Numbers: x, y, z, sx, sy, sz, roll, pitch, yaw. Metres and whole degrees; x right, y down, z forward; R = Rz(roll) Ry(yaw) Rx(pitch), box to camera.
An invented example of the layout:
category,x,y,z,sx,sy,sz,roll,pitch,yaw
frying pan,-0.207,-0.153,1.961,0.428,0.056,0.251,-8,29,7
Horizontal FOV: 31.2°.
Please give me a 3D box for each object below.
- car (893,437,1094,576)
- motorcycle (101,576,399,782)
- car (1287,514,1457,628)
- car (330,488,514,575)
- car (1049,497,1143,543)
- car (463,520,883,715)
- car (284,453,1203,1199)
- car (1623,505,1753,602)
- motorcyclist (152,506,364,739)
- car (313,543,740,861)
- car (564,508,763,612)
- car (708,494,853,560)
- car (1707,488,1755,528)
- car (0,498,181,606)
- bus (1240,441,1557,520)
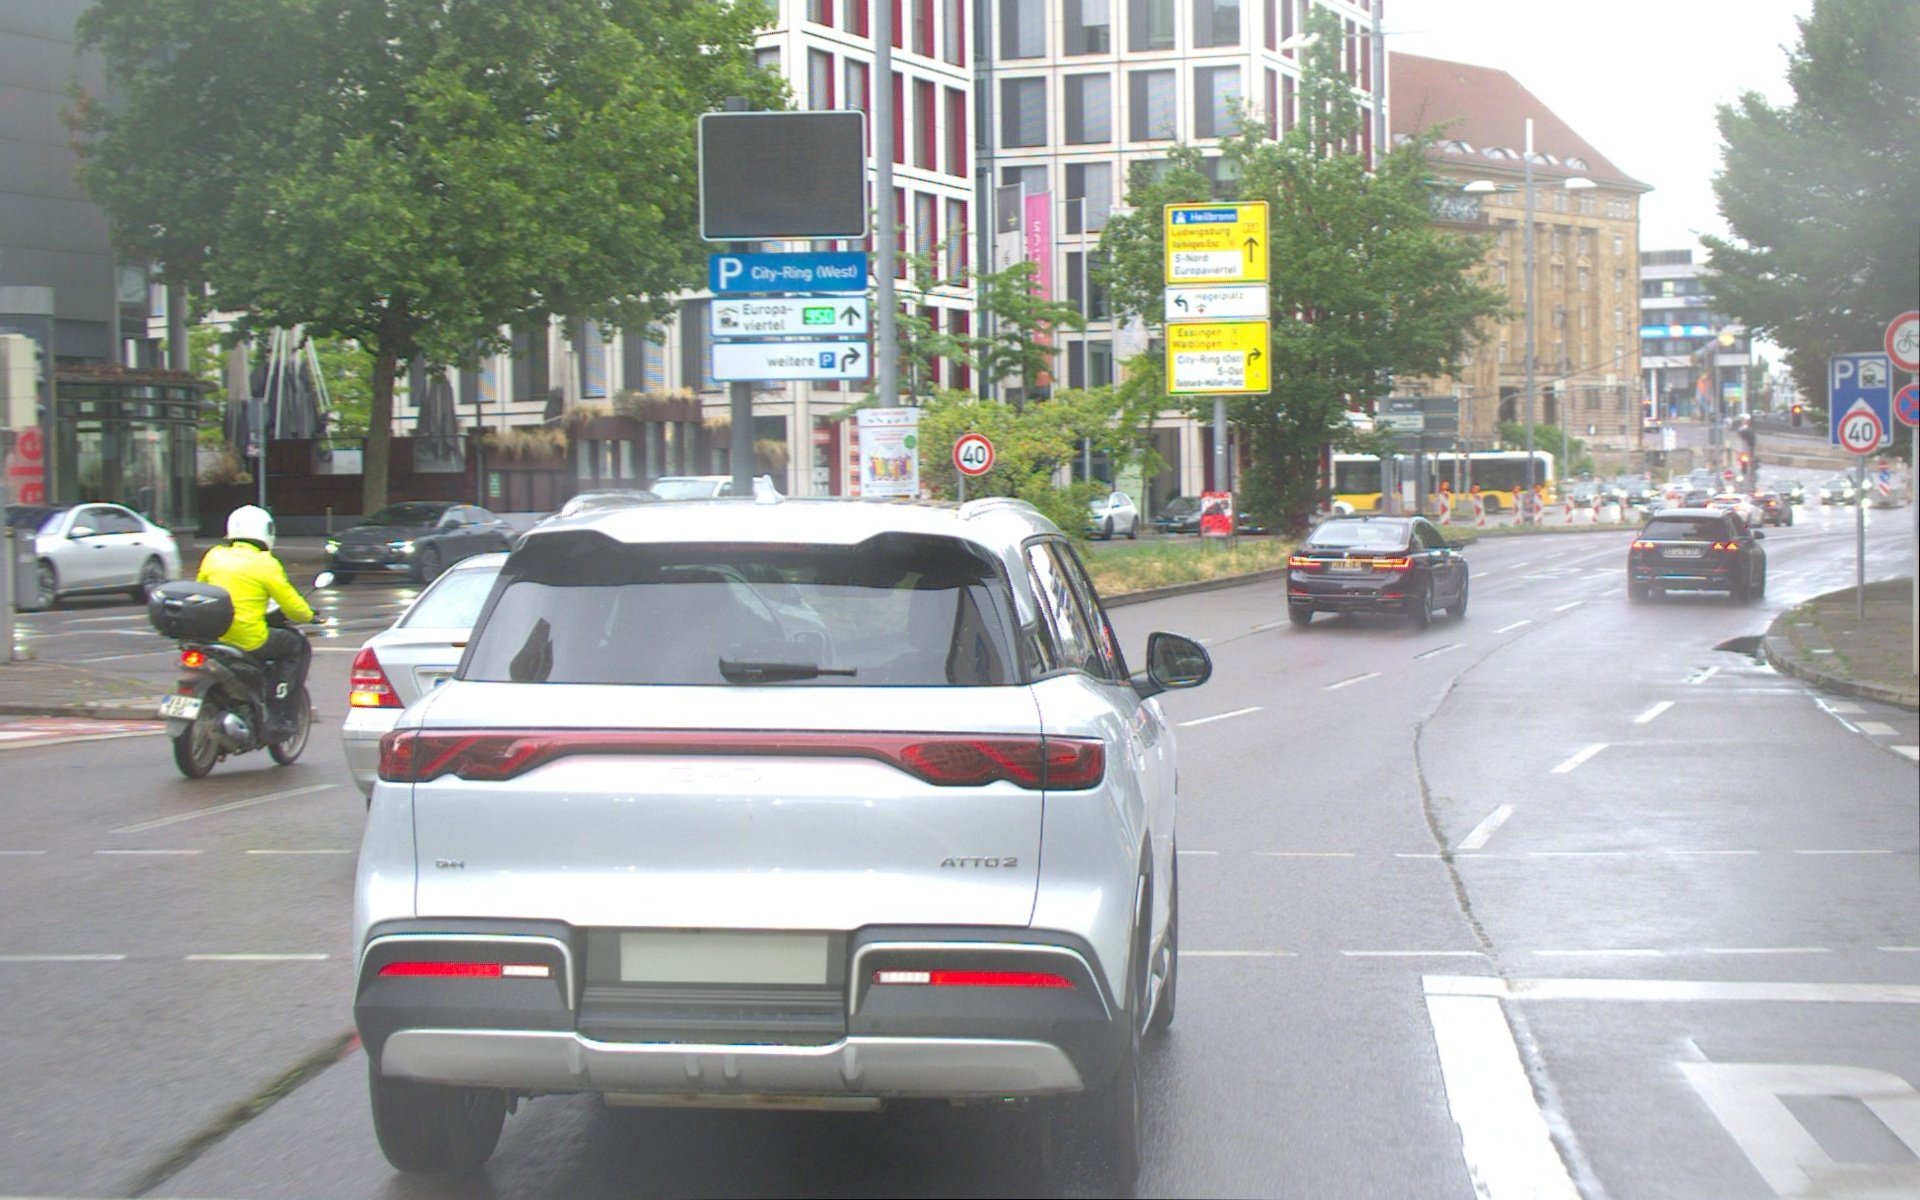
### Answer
category,x,y,z,sx,sy,sz,roll,pitch,yaw
car,0.582,-1.413,53.439,1.995,2.007,4.845,1,0,15
motorcycle,-4.289,0.456,20.946,0.801,1.180,2.026,1,0,21
car,5.695,-0.383,47.185,1.572,1.481,3.996,1,0,18
car,-9.927,-1.297,63.822,1.632,1.553,4.590,0,2,15
car,4.474,-2.634,112.532,1.995,1.483,3.996,0,2,19
car,-2.281,0.129,28.394,1.709,1.481,3.995,1,0,24
car,-0.329,0.529,9.219,1.776,1.673,3.999,1,0,6
car,11.716,-0.727,55.189,1.695,1.481,3.997,1,0,17
motorcyclist,-4.280,0.132,21.016,0.771,1.375,1.117,1,0,21
car,-2.072,0.448,17.431,1.571,1.402,4.109,1,0,1
car,-4.267,-0.615,50.018,1.632,1.432,3.905,0,2,15
car,-4.145,-1.717,80.089,1.995,1.483,3.996,0,2,19
car,32.744,-3.893,145.973,1.889,1.637,3.998,1,1,14
car,-13.645,-0.756,51.167,1.815,1.505,5.193,0,2,14
bus,24.201,-6.589,189.762,16.973,4.049,4.435,1,0,13
